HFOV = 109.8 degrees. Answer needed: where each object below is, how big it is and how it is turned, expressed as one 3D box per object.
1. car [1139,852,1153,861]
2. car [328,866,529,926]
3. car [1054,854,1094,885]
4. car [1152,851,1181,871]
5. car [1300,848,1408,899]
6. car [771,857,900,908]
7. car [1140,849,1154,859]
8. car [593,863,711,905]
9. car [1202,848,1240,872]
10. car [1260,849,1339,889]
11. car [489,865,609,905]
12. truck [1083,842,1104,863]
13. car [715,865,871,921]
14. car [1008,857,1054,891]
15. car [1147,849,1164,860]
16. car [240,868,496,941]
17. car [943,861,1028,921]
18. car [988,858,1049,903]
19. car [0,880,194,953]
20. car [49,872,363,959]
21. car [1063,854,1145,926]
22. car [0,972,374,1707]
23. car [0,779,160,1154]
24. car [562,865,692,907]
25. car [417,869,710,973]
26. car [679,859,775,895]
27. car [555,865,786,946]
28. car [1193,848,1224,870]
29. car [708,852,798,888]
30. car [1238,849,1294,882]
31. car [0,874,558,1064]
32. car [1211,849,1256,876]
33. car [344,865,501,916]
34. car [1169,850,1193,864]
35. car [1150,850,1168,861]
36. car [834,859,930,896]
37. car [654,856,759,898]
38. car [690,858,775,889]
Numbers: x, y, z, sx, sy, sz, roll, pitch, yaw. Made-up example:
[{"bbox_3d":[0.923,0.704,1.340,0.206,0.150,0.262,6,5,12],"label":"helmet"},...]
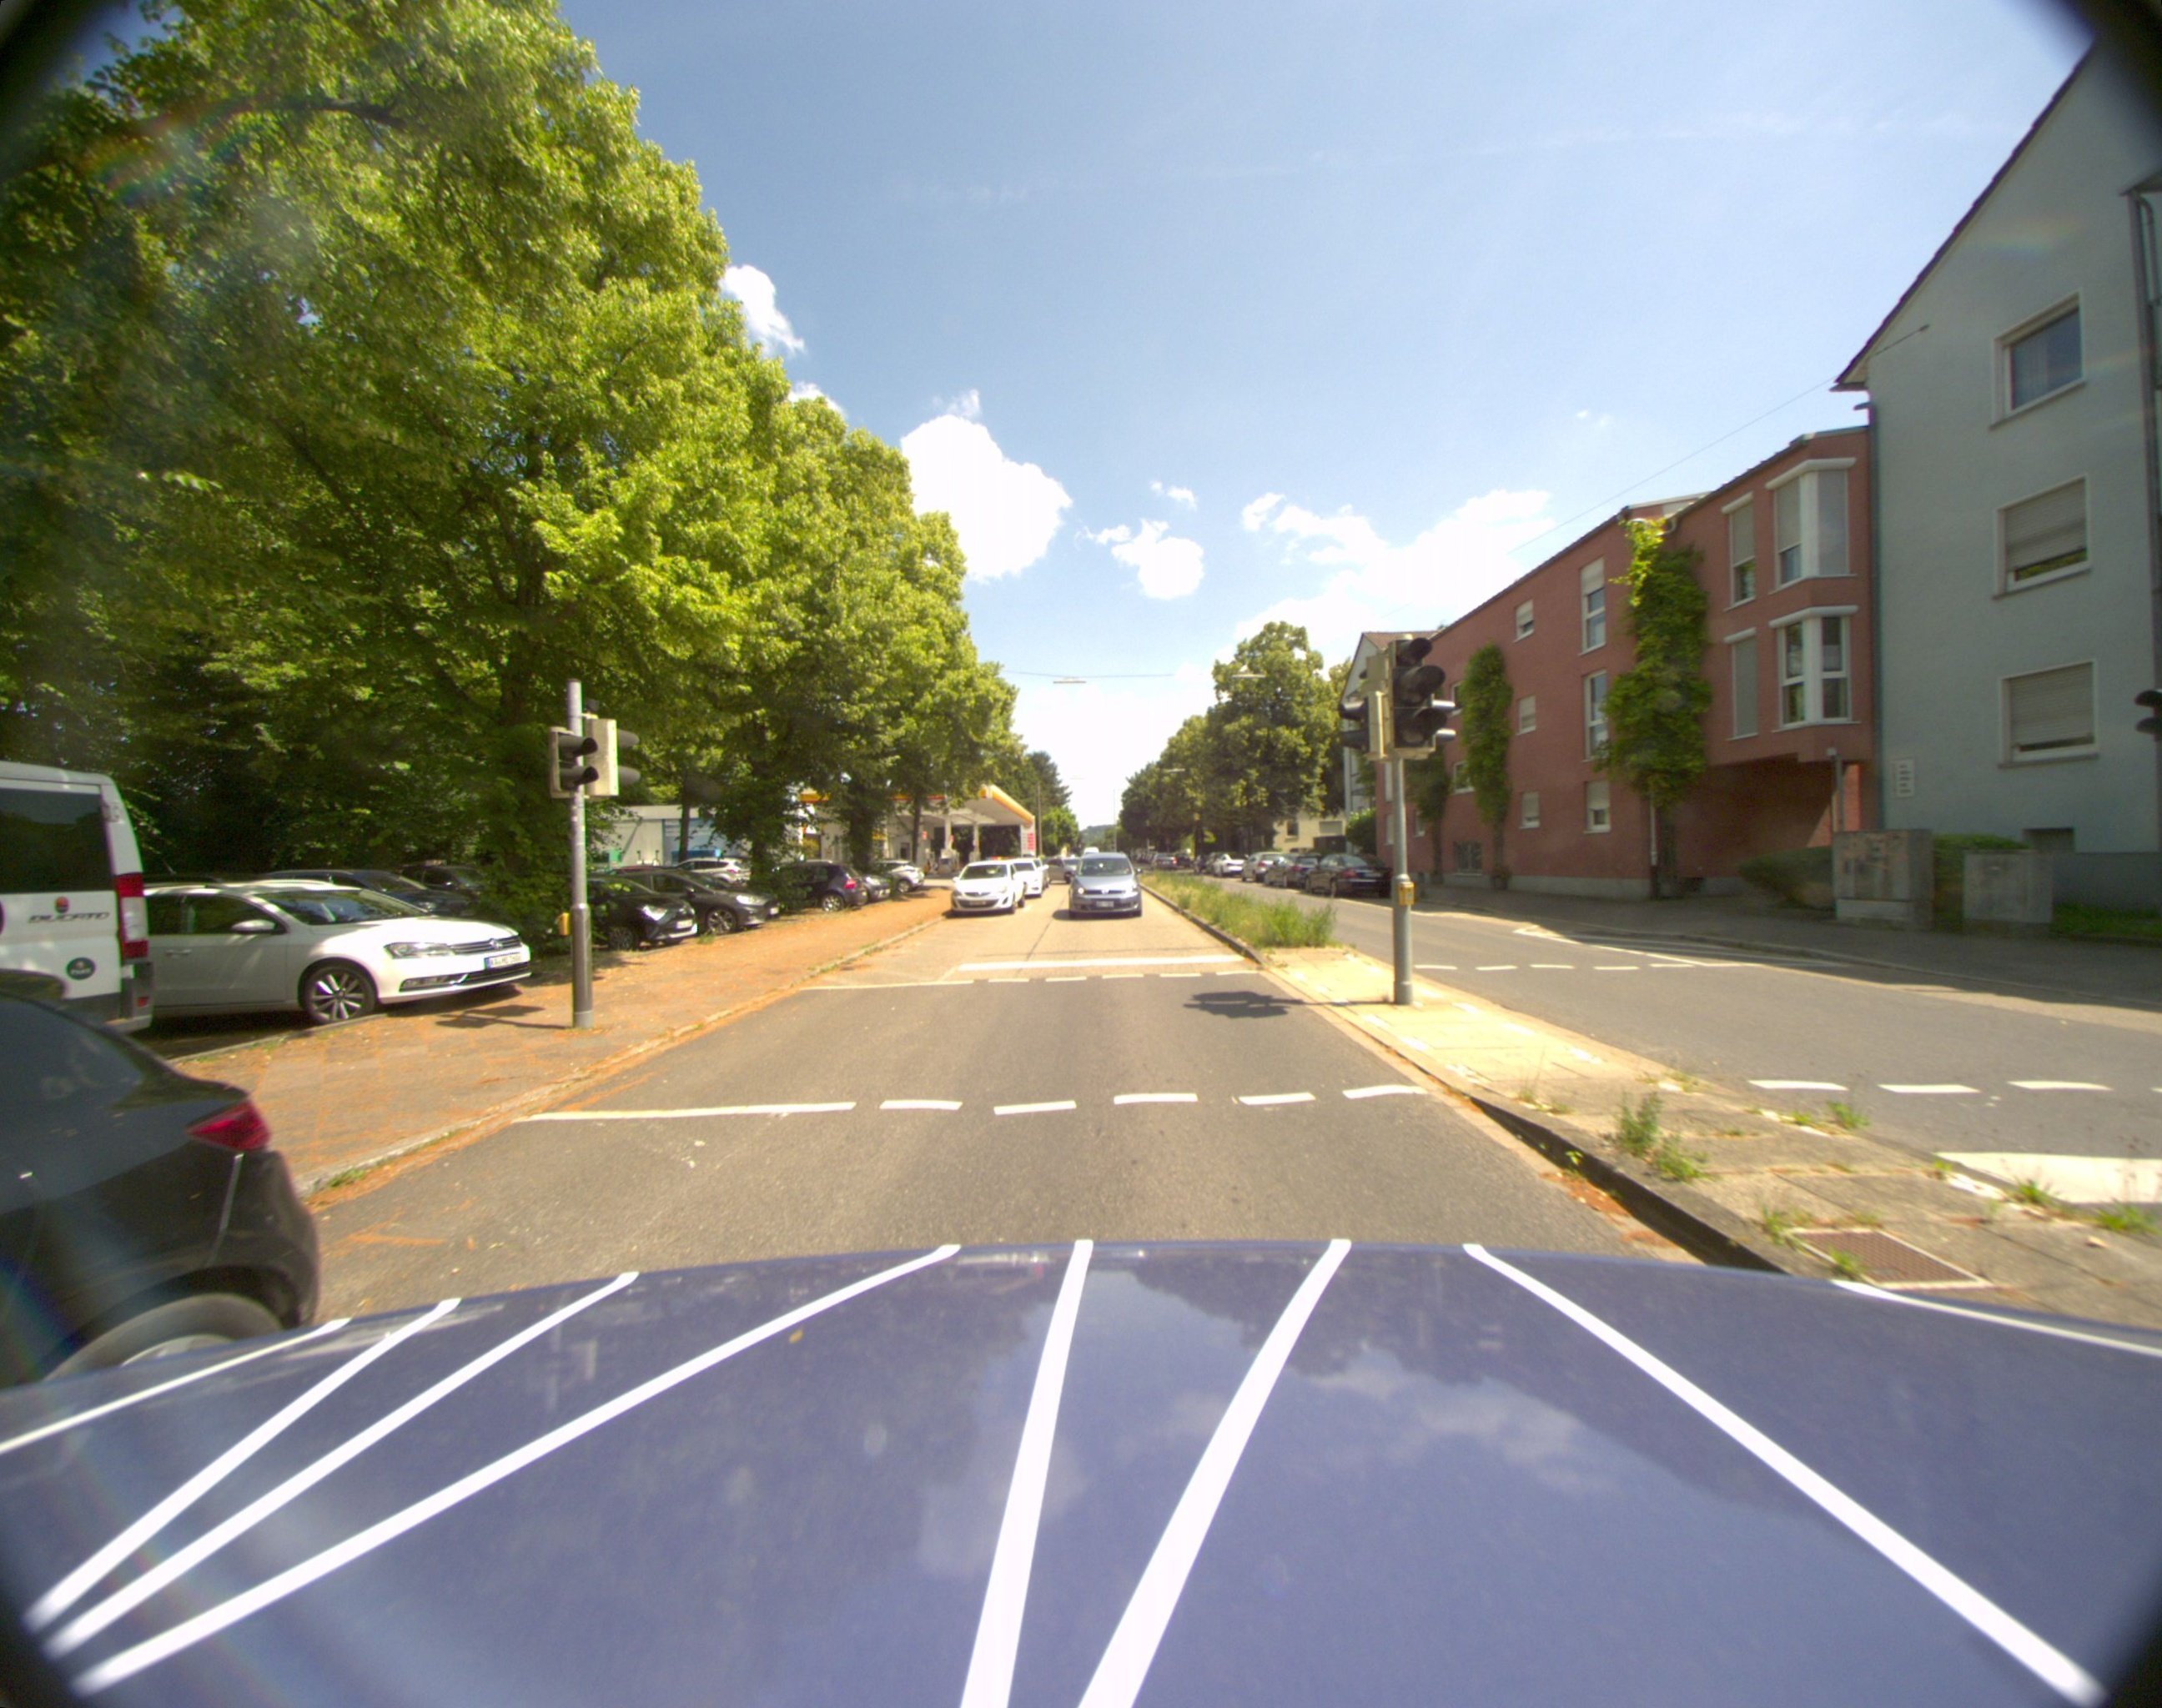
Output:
[{"bbox_3d":[10.071,0.407,117.959,1.757,1.325,3.607,-3,0,-1],"label":"car"},{"bbox_3d":[-18.054,1.127,21.182,3.956,1.513,1.737,-1,0,-4],"label":"car"},{"bbox_3d":[-0.437,0.822,41.454,1.868,1.516,4.290,-2,0,-4],"label":"car"},{"bbox_3d":[6.916,0.537,61.805,1.752,1.499,3.999,-3,0,-1],"label":"car"},{"bbox_3d":[9.062,0.597,25.669,1.891,1.531,4.567,-1,0,-1],"label":"car"},{"bbox_3d":[-8.257,0.949,25.660,3.763,1.526,1.631,-2,1,11],"label":"car"},{"bbox_3d":[9.796,0.008,112.887,1.757,1.325,3.607,-3,0,-1],"label":"car"},{"bbox_3d":[-17.639,1.214,31.380,3.808,1.574,1.737,-1,0,-4],"label":"car"},{"bbox_3d":[9.458,0.369,51.596,1.752,1.499,3.999,-3,0,-1],"label":"car"},{"bbox_3d":[9.088,0.576,32.029,1.891,1.531,4.567,-1,0,-1],"label":"car"},{"bbox_3d":[-22.684,1.291,32.510,3.808,1.554,1.737,-1,0,-4],"label":"car"},{"bbox_3d":[1.403,-0.151,84.780,1.867,2.211,4.506,-2,0,6],"label":"truck"},{"bbox_3d":[-8.151,1.080,21.800,3.849,1.350,1.628,-3,1,-8],"label":"car"},{"bbox_3d":[-2.291,0.907,35.401,1.775,1.434,3.338,-2,0,1],"label":"car"},{"bbox_3d":[9.924,0.101,101.728,1.757,1.325,3.607,-3,0,-1],"label":"car"},{"bbox_3d":[-17.167,1.170,18.499,4.265,1.578,1.818,-1,0,-6],"label":"car"},{"bbox_3d":[-2.619,0.981,21.782,1.721,1.434,4.111,-3,0,2],"label":"car"},{"bbox_3d":[-2.321,0.949,29.248,1.867,1.516,4.208,-2,0,1],"label":"car"},{"bbox_3d":[-22.862,1.378,17.131,3.806,1.456,1.738,-1,0,3],"label":"car"},{"bbox_3d":[-17.805,1.211,15.623,4.263,1.578,1.818,-1,0,-1],"label":"car"},{"bbox_3d":[0.686,0.794,18.838,1.746,1.513,4.224,-2,0,5],"label":"car"},{"bbox_3d":[-2.885,1.076,0.134,1.667,1.420,4.000,-2,0,1],"label":"car"},{"bbox_3d":[-8.867,0.814,4.314,4.614,2.263,2.106,-4,0,1],"label":"car"},{"bbox_3d":[-17.173,1.199,28.885,3.808,1.456,1.737,-1,0,-3],"label":"car"},{"bbox_3d":[-9.226,1.156,13.783,4.078,1.485,1.636,-4,1,-1],"label":"car"},{"bbox_3d":[-17.237,1.097,37.124,3.808,1.608,1.737,-1,0,-3],"label":"car"},{"bbox_3d":[-8.874,1.083,16.671,4.078,1.485,1.636,-3,1,-1],"label":"car"},{"bbox_3d":[9.475,0.342,56.760,1.572,1.499,3.999,-3,0,-1],"label":"car"},{"bbox_3d":[-19.036,0.921,44.215,4.375,1.985,1.854,-1,1,-3],"label":"car"},{"bbox_3d":[9.216,0.518,38.151,1.752,1.499,3.999,-3,0,-1],"label":"car"},{"bbox_3d":[-8.389,1.115,8.040,4.336,1.485,1.808,-4,0,-1],"label":"car"},{"bbox_3d":[8.994,0.480,45.082,1.752,1.433,3.999,-3,0,-1],"label":"car"},{"bbox_3d":[-22.659,1.214,26.263,3.808,1.616,1.737,-1,0,-3],"label":"car"},{"bbox_3d":[9.798,0.287,74.534,1.757,1.325,3.607,-3,0,-1],"label":"car"},{"bbox_3d":[9.925,0.149,96.751,1.757,1.325,3.607,-3,0,-1],"label":"car"},{"bbox_3d":[-8.752,1.012,33.690,3.762,1.518,1.853,-1,0,-3],"label":"car"},{"bbox_3d":[-17.095,1.023,34.845,3.808,1.840,1.932,-1,1,-3],"label":"car"},{"bbox_3d":[-19.050,1.032,41.627,3.808,1.608,1.737,-1,0,-3],"label":"car"}]
